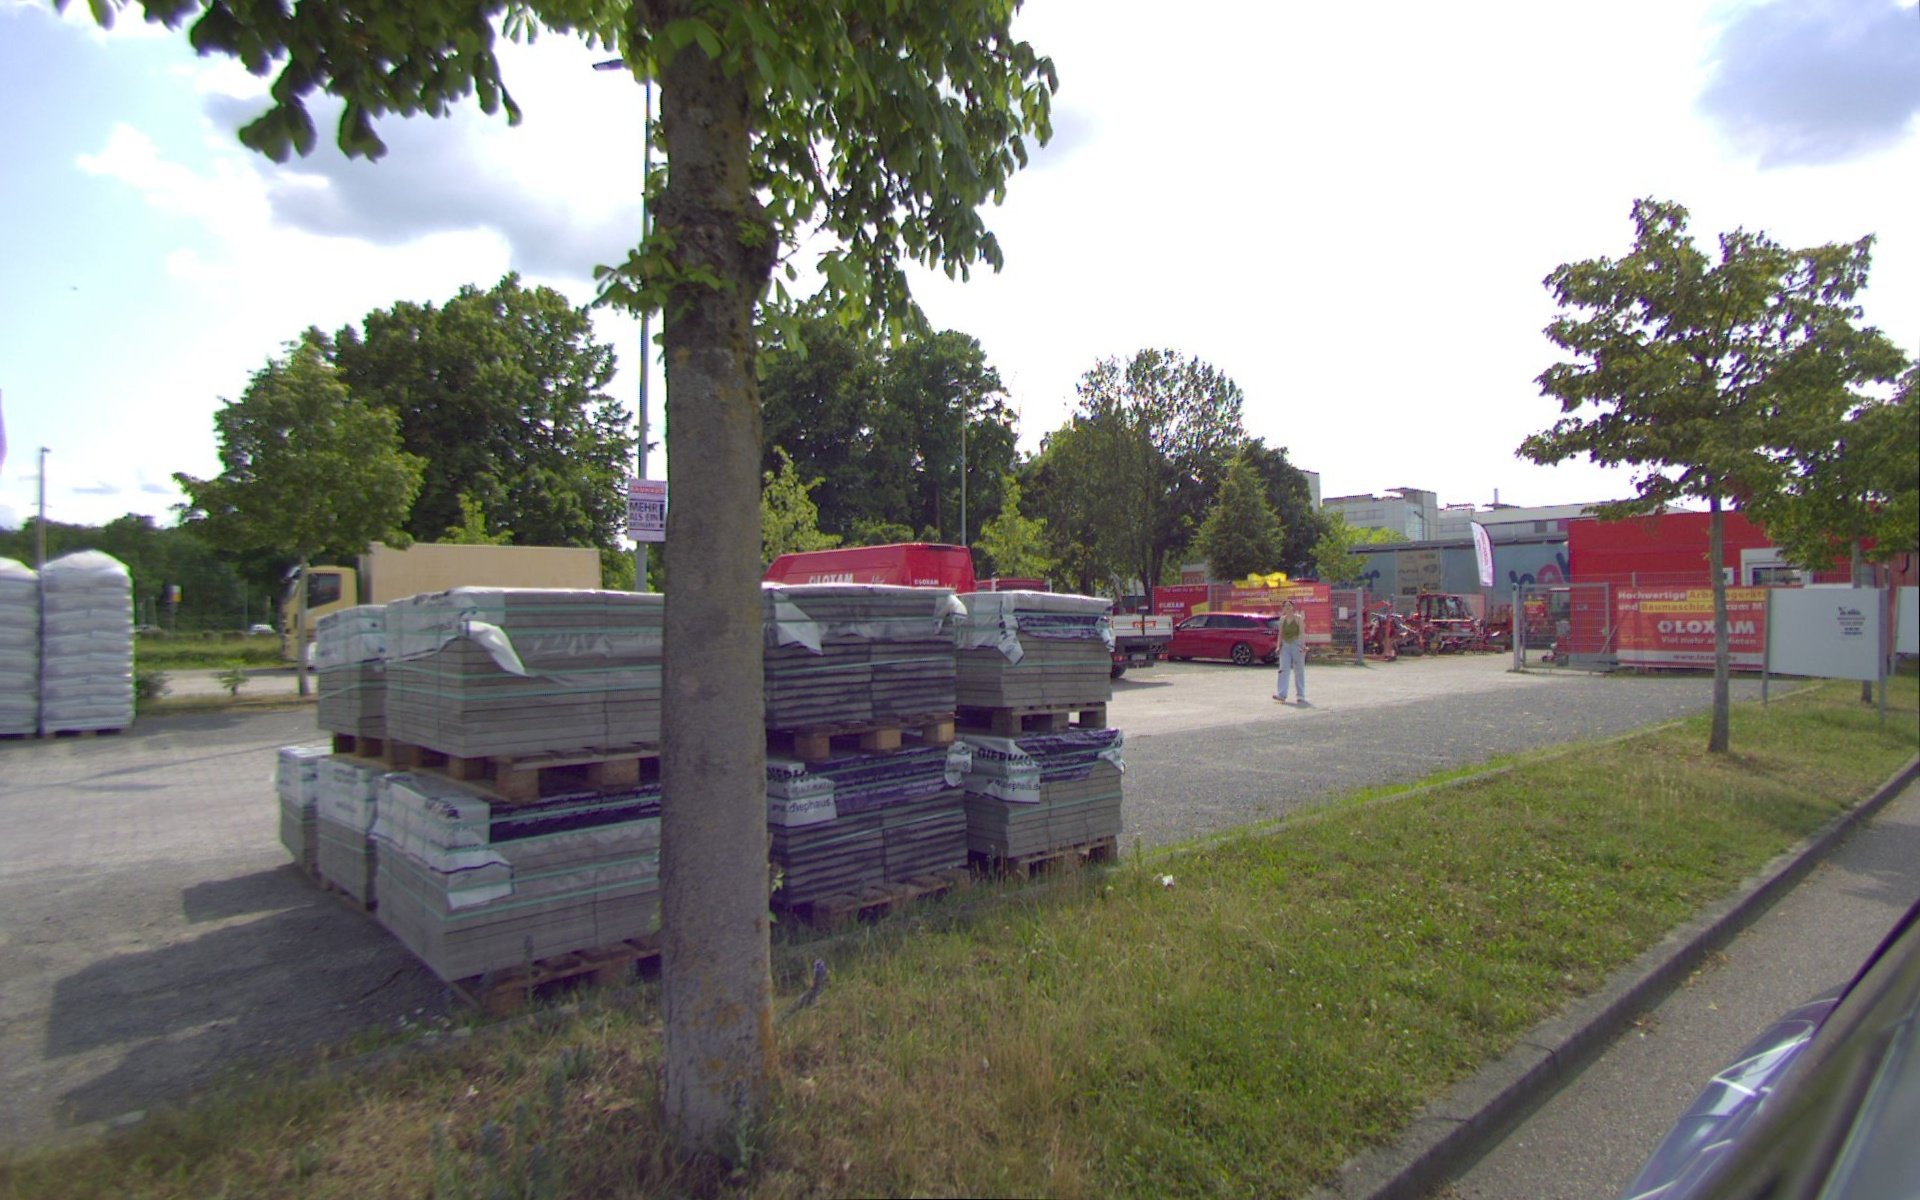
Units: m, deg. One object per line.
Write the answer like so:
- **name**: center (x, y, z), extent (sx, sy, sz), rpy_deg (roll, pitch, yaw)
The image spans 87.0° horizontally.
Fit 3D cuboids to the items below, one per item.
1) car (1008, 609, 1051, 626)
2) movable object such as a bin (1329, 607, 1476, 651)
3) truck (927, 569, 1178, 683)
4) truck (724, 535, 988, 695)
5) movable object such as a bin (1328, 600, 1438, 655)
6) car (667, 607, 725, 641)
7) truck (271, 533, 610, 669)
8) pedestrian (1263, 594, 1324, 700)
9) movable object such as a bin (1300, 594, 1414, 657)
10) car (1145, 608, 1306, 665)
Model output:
- **car**: center (6.895, 1.743, 100.951), extent (1.967, 1.603, 3.989), rpy_deg (1, -1, -44)
- **movable object such as a bin**: center (15.149, 0.969, 34.733), extent (3.025, 1.396, 3.586), rpy_deg (2, -1, -36)
- **truck**: center (1.942, 0.532, 23.219), extent (2.136, 2.284, 5.850), rpy_deg (1, -1, -43)
- **truck**: center (-2.113, 0.261, 18.901), extent (2.080, 2.547, 5.433), rpy_deg (1, -1, -43)
- **movable object such as a bin**: center (13.720, 0.874, 32.891), extent (1.364, 1.691, 3.008), rpy_deg (1, -1, -40)
- **car**: center (-14.149, 1.245, 54.090), extent (1.867, 1.677, 3.486), rpy_deg (0, 0, -36)
- **truck**: center (-15.644, 0.063, 31.036), extent (8.873, 3.644, 2.727), rpy_deg (1, -1, -39)
- **pedestrian**: center (5.594, 0.768, 16.972), extent (0.863, 1.713, 0.600), rpy_deg (-1, 0, -39)
- **movable object such as a bin**: center (12.317, 0.778, 31.487), extent (1.364, 1.867, 3.008), rpy_deg (1, -1, -40)
- **car**: center (7.351, 0.958, 28.295), extent (4.133, 1.432, 1.592), rpy_deg (0, 0, 45)
